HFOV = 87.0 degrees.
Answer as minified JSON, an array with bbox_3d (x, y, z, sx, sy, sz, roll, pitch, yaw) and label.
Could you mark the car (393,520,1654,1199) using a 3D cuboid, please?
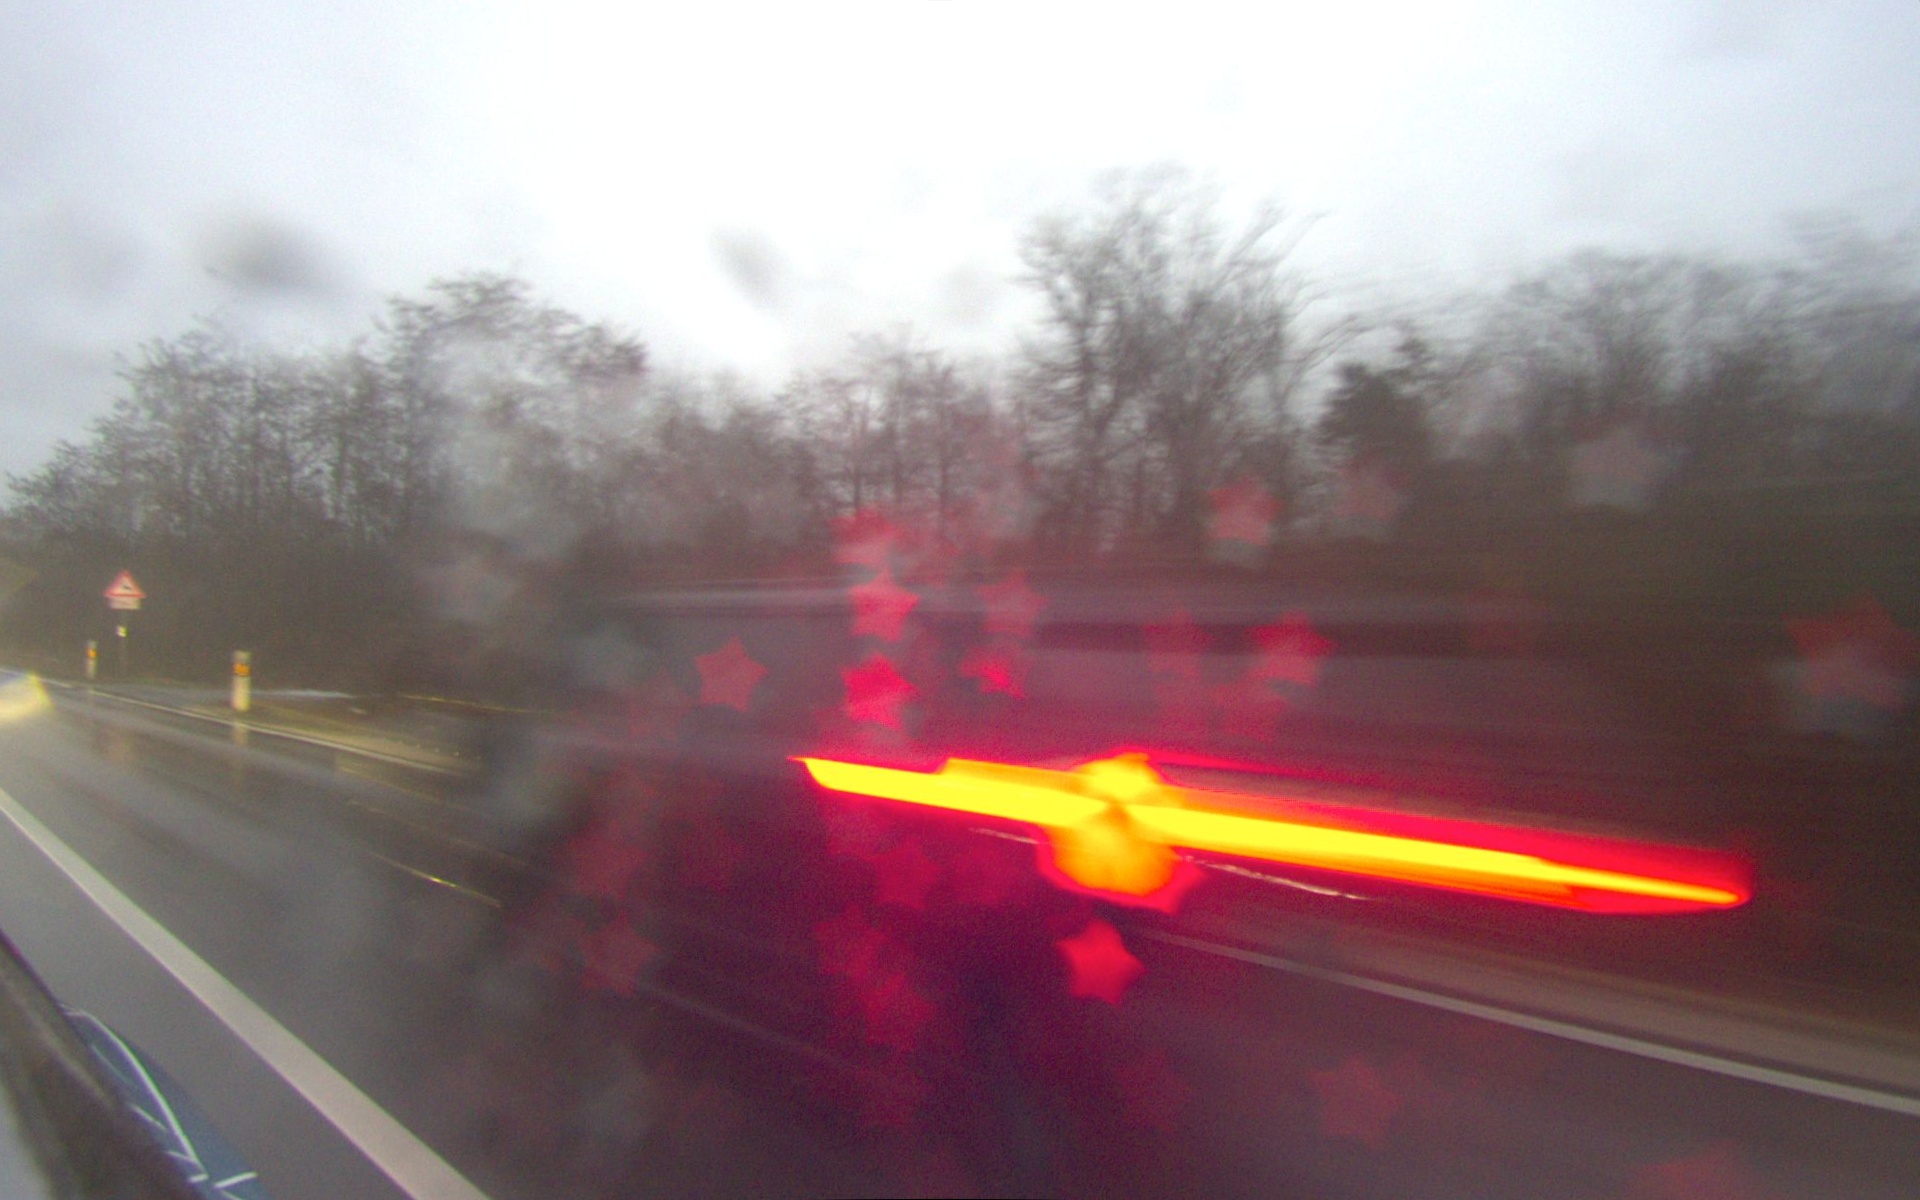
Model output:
[{"bbox_3d":[-0.156,0.710,3.450,3.997,1.498,1.786,-2,-3,40],"label":"car"}]
